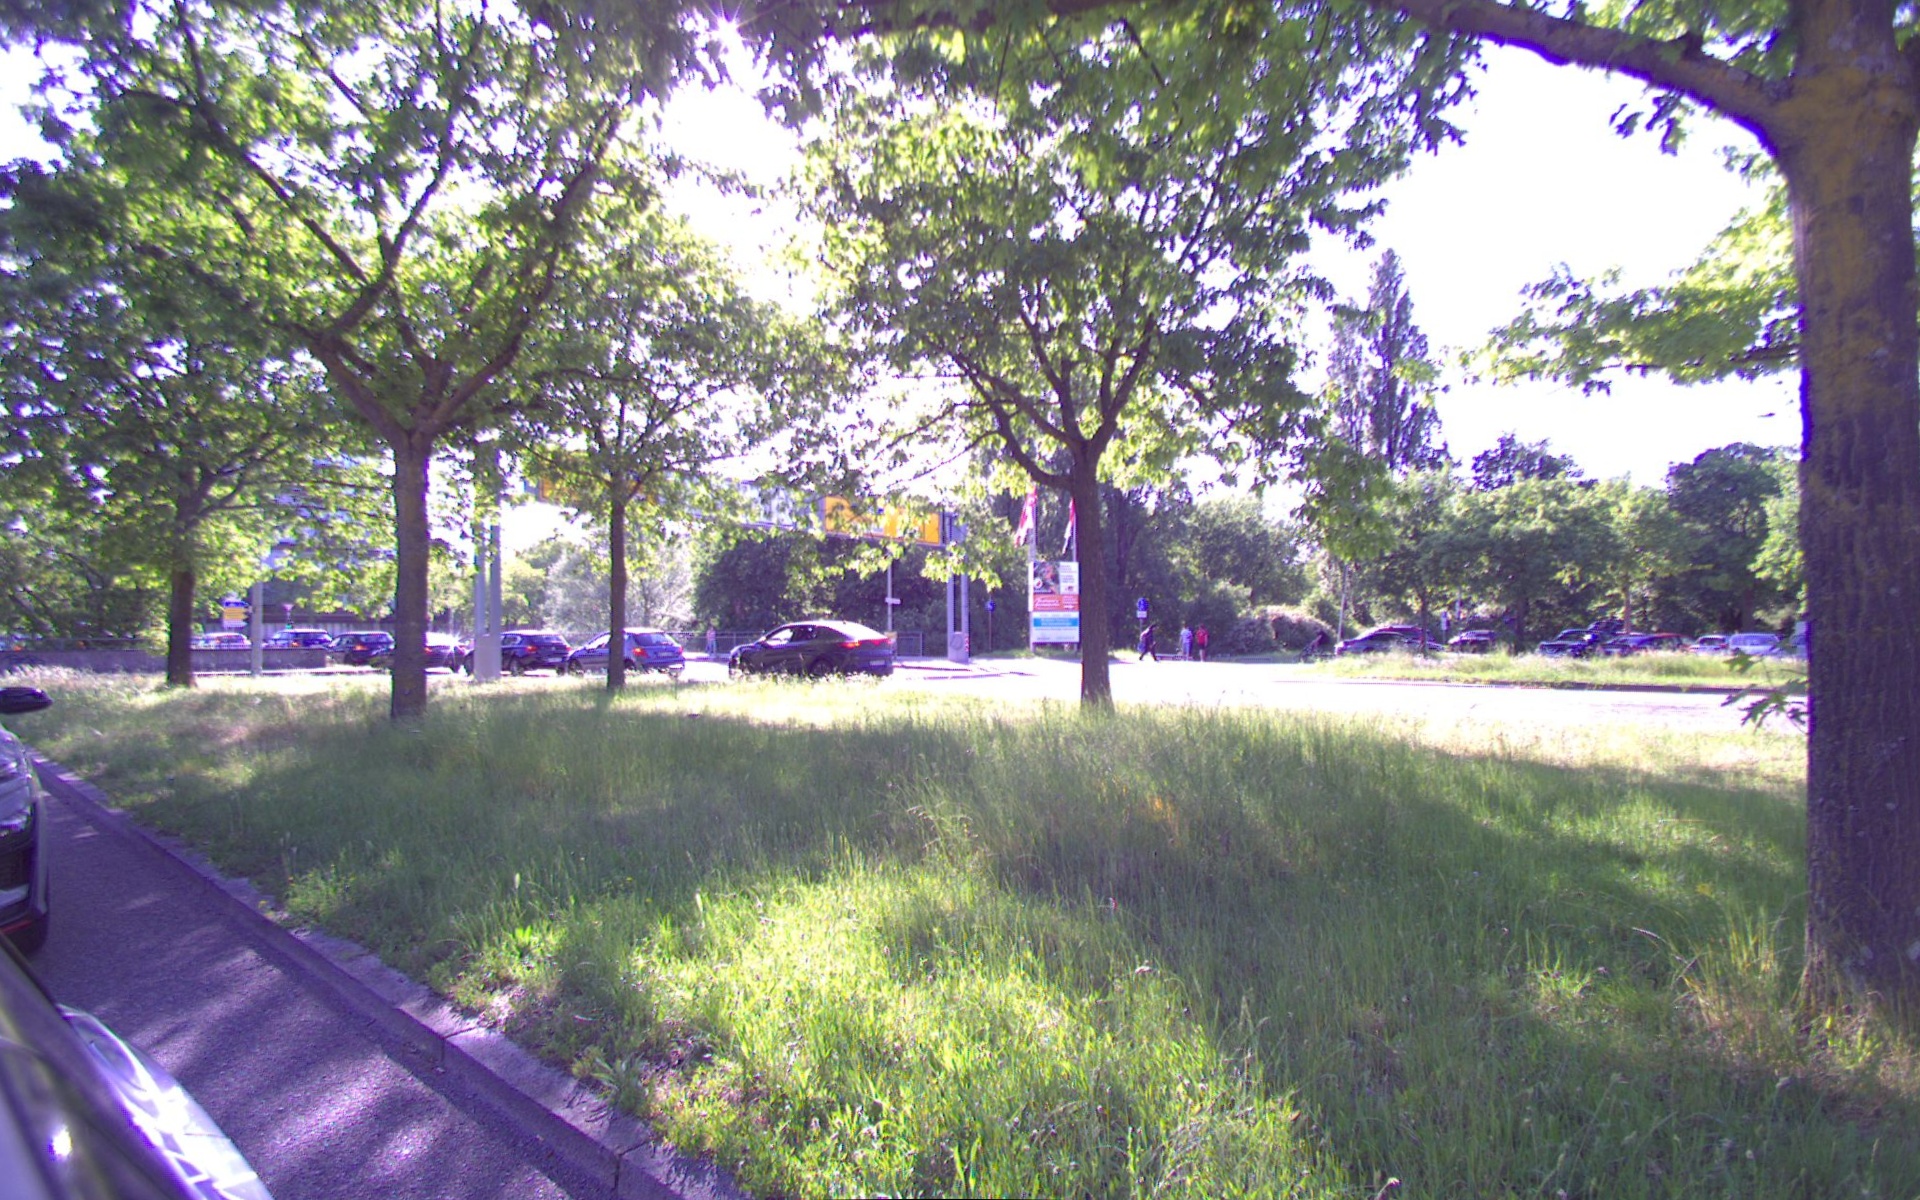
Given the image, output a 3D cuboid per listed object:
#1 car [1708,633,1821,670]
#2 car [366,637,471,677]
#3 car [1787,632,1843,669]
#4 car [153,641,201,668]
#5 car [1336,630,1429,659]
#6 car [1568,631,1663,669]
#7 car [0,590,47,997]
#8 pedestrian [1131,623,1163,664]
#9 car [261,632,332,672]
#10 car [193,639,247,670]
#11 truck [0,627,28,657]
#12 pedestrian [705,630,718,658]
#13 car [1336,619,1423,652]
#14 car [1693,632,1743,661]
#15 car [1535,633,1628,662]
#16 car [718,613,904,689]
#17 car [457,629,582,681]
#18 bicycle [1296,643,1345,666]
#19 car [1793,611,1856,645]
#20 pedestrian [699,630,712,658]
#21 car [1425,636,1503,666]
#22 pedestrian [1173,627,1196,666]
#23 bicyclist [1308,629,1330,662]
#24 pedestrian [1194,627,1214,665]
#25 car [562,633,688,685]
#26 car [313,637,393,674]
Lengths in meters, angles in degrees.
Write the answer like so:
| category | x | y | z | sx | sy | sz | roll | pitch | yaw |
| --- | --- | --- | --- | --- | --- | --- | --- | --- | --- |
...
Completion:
| category | x | y | z | sx | sy | sz | roll | pitch | yaw |
| --- | --- | --- | --- | --- | --- | --- | --- | --- | --- |
| car | 26.893 | 1.704 | 33.908 | 2.783 | 1.165 | 1.327 | -1 | -2 | 32 |
| car | -19.217 | 1.992 | 35.857 | 4.058 | 1.323 | 1.604 | -2 | -2 | 35 |
| car | 35.620 | 2.073 | 42.215 | 1.617 | 1.430 | 3.038 | -2 | -2 | 38 |
| car | -39.988 | 2.780 | 51.662 | 2.761 | 1.270 | 1.186 | -4 | -3 | 35 |
| car | 21.137 | 2.210 | 50.754 | 3.957 | 1.385 | 1.826 | -1 | -2 | 11 |
| car | 23.541 | 1.792 | 36.432 | 2.783 | 1.315 | 1.327 | -2 | -2 | 32 |
| car | -5.626 | 0.769 | 4.601 | 3.986 | 1.544 | 1.730 | -2 | -2 | 41 |
| pedestrian | 7.729 | 1.794 | 41.818 | 0.985 | 1.642 | 0.904 | -2 | -2 | 33 |
| car | -28.103 | 2.209 | 42.823 | 3.195 | 1.571 | 1.433 | -4 | -3 | 34 |
| car | -35.049 | 2.591 | 47.921 | 2.875 | 1.350 | 1.214 | -5 | -4 | 34 |
| truck | -110.413 | 4.701 | 112.852 | 9.008 | 3.275 | 3.539 | 0 | -2 | -30 |
| pedestrian | -13.529 | 2.399 | 55.062 | 0.544 | 1.510 | 0.416 | -2 | -2 | 33 |
| car | 22.428 | 1.906 | 54.285 | 3.959 | 1.678 | 1.992 | -1 | -2 | 13 |
| car | 32.978 | 1.992 | 44.110 | 1.616 | 1.187 | 3.040 | -2 | -2 | 35 |
| car | 23.361 | 1.781 | 38.115 | 2.774 | 1.072 | 1.324 | -1 | -2 | 23 |
| car | -3.626 | 1.182 | 24.288 | 4.451 | 1.660 | 1.810 | -2 | -2 | 36 |
| car | -14.160 | 1.732 | 32.453 | 4.215 | 1.562 | 1.853 | -2 | -2 | 37 |
| bicycle | 16.530 | 2.495 | 46.382 | 2.016 | 1.060 | 0.684 | -1 | -2 | 13 |
| car | 43.896 | 1.424 | 51.393 | 3.694 | 1.681 | 1.895 | 1 | -2 | -41 |
| pedestrian | -13.762 | 2.391 | 54.703 | 0.544 | 1.510 | 0.416 | -2 | -2 | 33 |
| car | 31.560 | 3.204 | 63.481 | 3.961 | 1.807 | 1.991 | -1 | -2 | 14 |
| pedestrian | 10.978 | 2.259 | 49.530 | 0.845 | 1.881 | 0.903 | -1 | 0 | -5 |
| bicyclist | 16.467 | 2.091 | 46.437 | 0.839 | 1.500 | 0.678 | -1 | -2 | 13 |
| pedestrian | 11.756 | 2.204 | 48.869 | 0.742 | 1.802 | 0.905 | -1 | 0 | 2 |
| car | -9.551 | 1.649 | 28.764 | 3.601 | 1.374 | 1.543 | -2 | -2 | 35 |
| car | -23.409 | 2.129 | 39.029 | 3.195 | 1.349 | 1.464 | -3 | -3 | 35 |
